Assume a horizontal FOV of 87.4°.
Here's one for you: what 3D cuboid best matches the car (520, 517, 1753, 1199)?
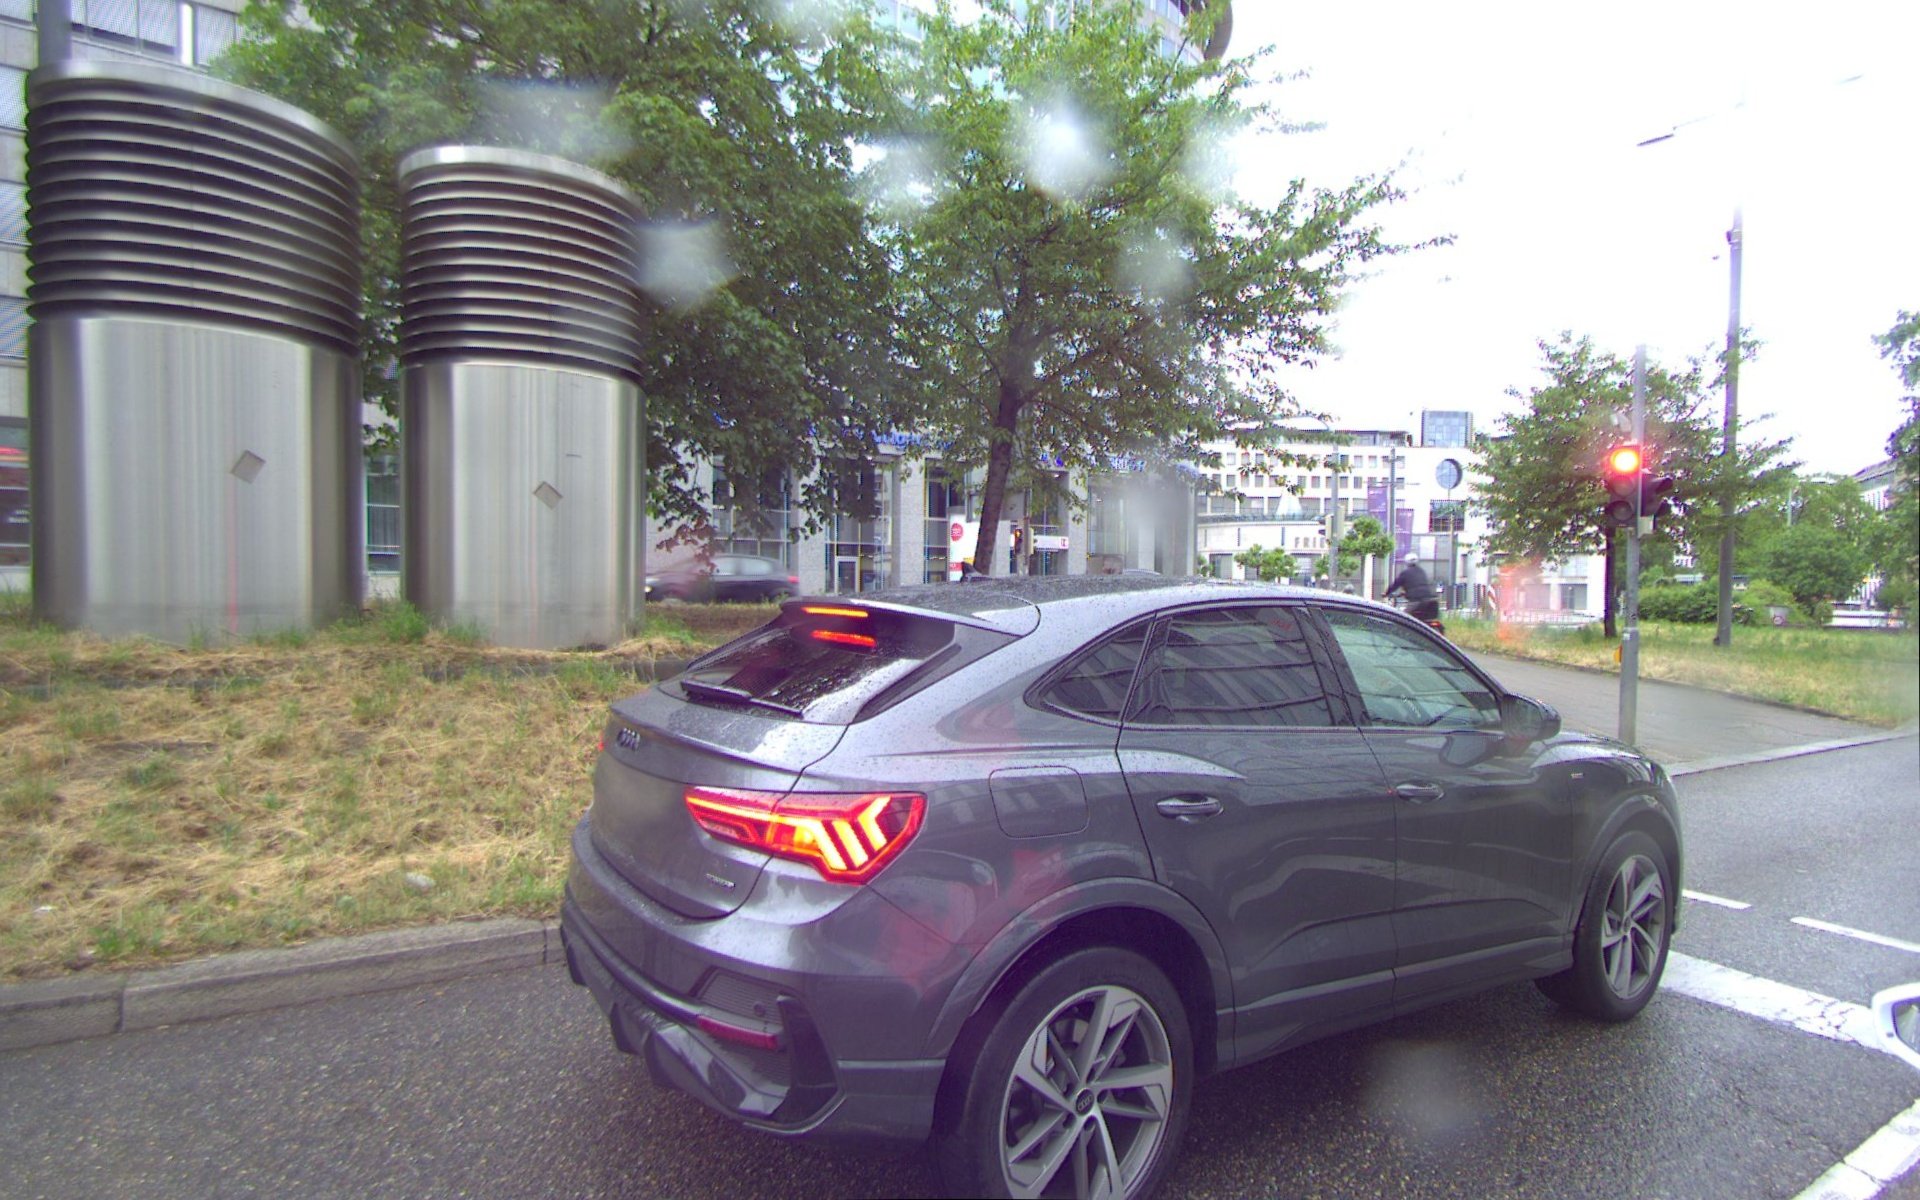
[{"bbox_3d":[0.883,0.672,3.547,4.209,1.638,1.836,0,2,-35],"label":"car"}]

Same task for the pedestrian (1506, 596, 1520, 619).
[{"bbox_3d":[50.262,0.687,91.275,0.735,2.041,0.781,1,3,-43],"label":"pedestrian"}]

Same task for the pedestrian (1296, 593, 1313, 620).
[{"bbox_3d":[19.921,0.375,58.069,0.720,1.536,0.687,-1,-2,44],"label":"pedestrian"}]

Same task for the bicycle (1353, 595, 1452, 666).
[{"bbox_3d":[8.434,0.545,19.265,0.748,1.161,2.130,1,3,-5],"label":"bicycle"}]

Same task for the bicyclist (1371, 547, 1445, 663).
[{"bbox_3d":[8.471,0.063,19.039,0.748,2.111,1.084,1,4,-5],"label":"bicyclist"}]

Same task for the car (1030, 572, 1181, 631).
[{"bbox_3d":[4.228,0.049,28.777,4.347,1.506,1.789,1,3,-40],"label":"car"}]

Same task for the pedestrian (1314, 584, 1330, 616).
[{"bbox_3d":[20.771,-0.007,57.659,0.721,1.786,0.613,1,-2,-45],"label":"pedestrian"}]

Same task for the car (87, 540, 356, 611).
[{"bbox_3d":[-15.532,-0.481,21.362,4.435,1.343,1.878,1,1,-37],"label":"car"}]

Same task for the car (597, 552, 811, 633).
[{"bbox_3d":[-5.328,-0.147,21.150,3.967,1.506,1.789,1,3,-40],"label":"car"}]
